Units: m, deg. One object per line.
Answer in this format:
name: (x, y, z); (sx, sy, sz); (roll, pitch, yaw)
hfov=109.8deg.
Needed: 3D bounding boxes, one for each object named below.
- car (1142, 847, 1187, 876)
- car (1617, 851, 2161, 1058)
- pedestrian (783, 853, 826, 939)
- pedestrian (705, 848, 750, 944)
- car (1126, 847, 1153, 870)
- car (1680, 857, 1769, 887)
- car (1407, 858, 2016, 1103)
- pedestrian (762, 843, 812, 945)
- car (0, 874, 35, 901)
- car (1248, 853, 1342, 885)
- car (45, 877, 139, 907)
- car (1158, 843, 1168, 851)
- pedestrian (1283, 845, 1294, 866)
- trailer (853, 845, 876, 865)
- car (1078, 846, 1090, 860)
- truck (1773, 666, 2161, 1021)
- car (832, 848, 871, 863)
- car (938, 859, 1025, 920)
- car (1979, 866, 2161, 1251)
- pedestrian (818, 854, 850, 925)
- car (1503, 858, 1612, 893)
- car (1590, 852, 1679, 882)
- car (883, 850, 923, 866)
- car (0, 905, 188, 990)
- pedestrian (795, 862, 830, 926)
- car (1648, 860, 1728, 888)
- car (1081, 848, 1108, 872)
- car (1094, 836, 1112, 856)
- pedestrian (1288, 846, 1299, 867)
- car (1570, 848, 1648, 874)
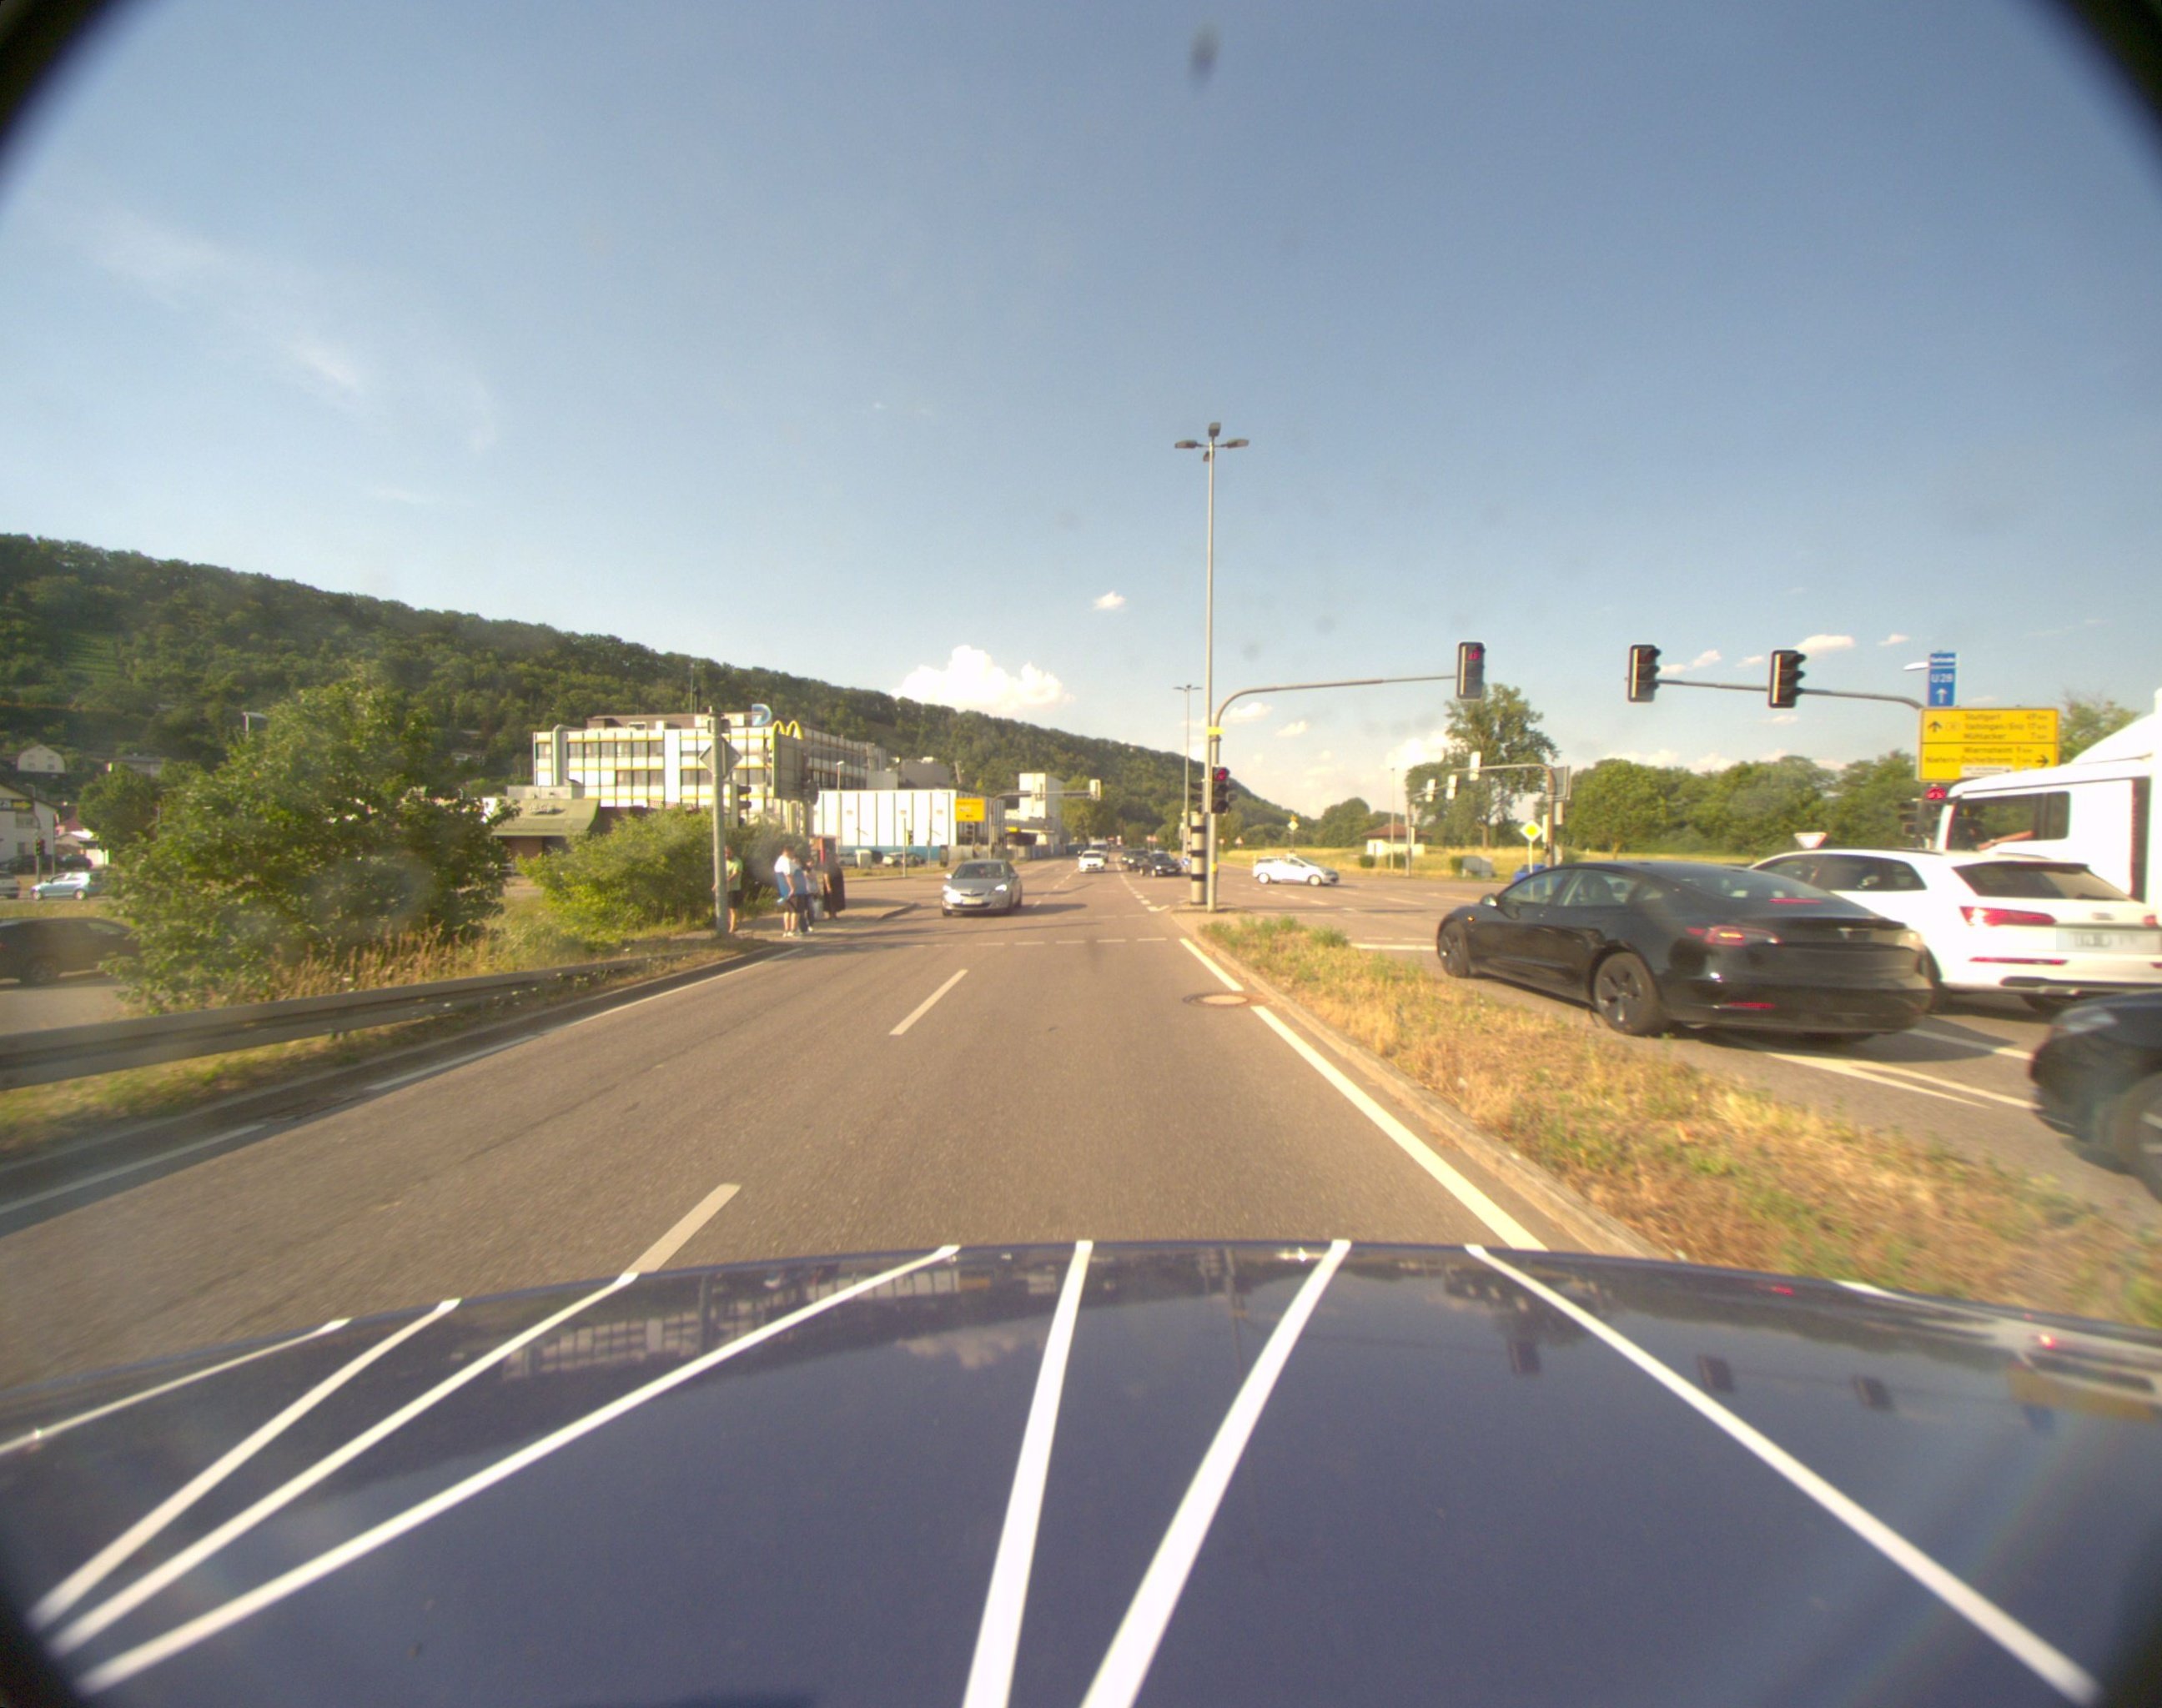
car: (4.961, 0.414, 45.674); (1.619, 1.565, 3.995); (-2, 2, -10)
car: (8.969, 0.853, 8.873); (1.998, 1.669, 4.805); (1, 1, 0)
pedestrian: (-5.577, 0.840, 15.355); (0.596, 1.673, 0.633); (2, 2, 0)
pedestrian: (-6.646, 0.781, 14.304); (0.532, 1.740, 0.537); (3, 2, 6)
car: (4.425, 0.280, 57.875); (1.858, 1.565, 4.144); (-2, 1, 2)
car: (35.595, 0.957, 42.069); (3.881, 1.412, 1.766); (-2, 2, -13)
car: (5.167, 0.840, 7.422); (1.795, 1.458, 4.927); (0, 1, -1)
pedestrian: (-5.611, 0.738, 14.553); (0.620, 1.872, 0.861); (0, 2, 0)
car: (-62.189, 1.952, 43.111); (3.649, 1.412, 1.690); (-2, 2, 7)
car: (10.687, 0.716, 38.045); (4.177, 1.468, 1.766); (0, 1, 40)
car: (-55.472, 2.113, 42.645); (3.321, 1.478, 1.577); (-2, 2, 4)
car: (16.530, -1.446, 153.906); (1.712, 1.426, 4.144); (1, 2, 2)
pedestrian: (16.156, 0.087, 59.159); (0.655, 1.597, 0.838); (-1, 2, 23)
trailer: (-21.331, 0.127, 74.774); (1.351, 1.936, 3.472); (0, 0, -30)
car: (0.483, -0.107, 123.540); (1.795, 2.155, 4.588); (0, 1, -1)
truck: (12.608, -0.052, 7.018); (2.940, 3.669, 10.497); (2, 2, 2)
car: (-25.230, 0.115, 83.582); (1.693, 1.447, 3.782); (-1, 2, 34)
car: (-2.596, 0.889, 20.736); (1.690, 1.383, 3.883); (-1, 2, 2)
car: (5.172, 0.807, 1.349); (1.785, 1.529, 4.572); (1, -1, 1)
pedestrian: (-5.808, 0.824, 17.909); (0.573, 1.606, 0.622); (1, 2, -3)
car: (21.892, 0.966, 35.020); (3.888, 1.491, 1.693); (0, 1, 6)
car: (29.899, 0.696, 41.060); (3.881, 1.412, 1.766); (-2, 2, -13)
car: (-19.463, 0.422, 83.018); (1.872, 1.496, 3.914); (-1, 2, 37)
car: (-26.960, 2.370, 20.108); (1.837, 1.693, 4.128); (0, 1, -3)
pedestrian: (-6.307, 0.926, 17.861); (0.573, 1.449, 0.622); (-2, 2, -3)
car: (36.517, 1.191, 45.731); (3.881, 1.412, 1.766); (-2, 2, -13)
car: (1.056, 0.410, 56.736); (1.825, 1.552, 3.999); (-2, 1, 2)
car: (2.473, -0.967, 85.756); (1.795, 2.155, 4.588); (0, 1, -1)
pedestrian: (16.243, 0.201, 58.020); (0.655, 1.597, 0.891); (-1, 2, 23)
car: (31.459, 0.389, 45.297); (3.881, 1.352, 1.634); (-2, 2, -13)
